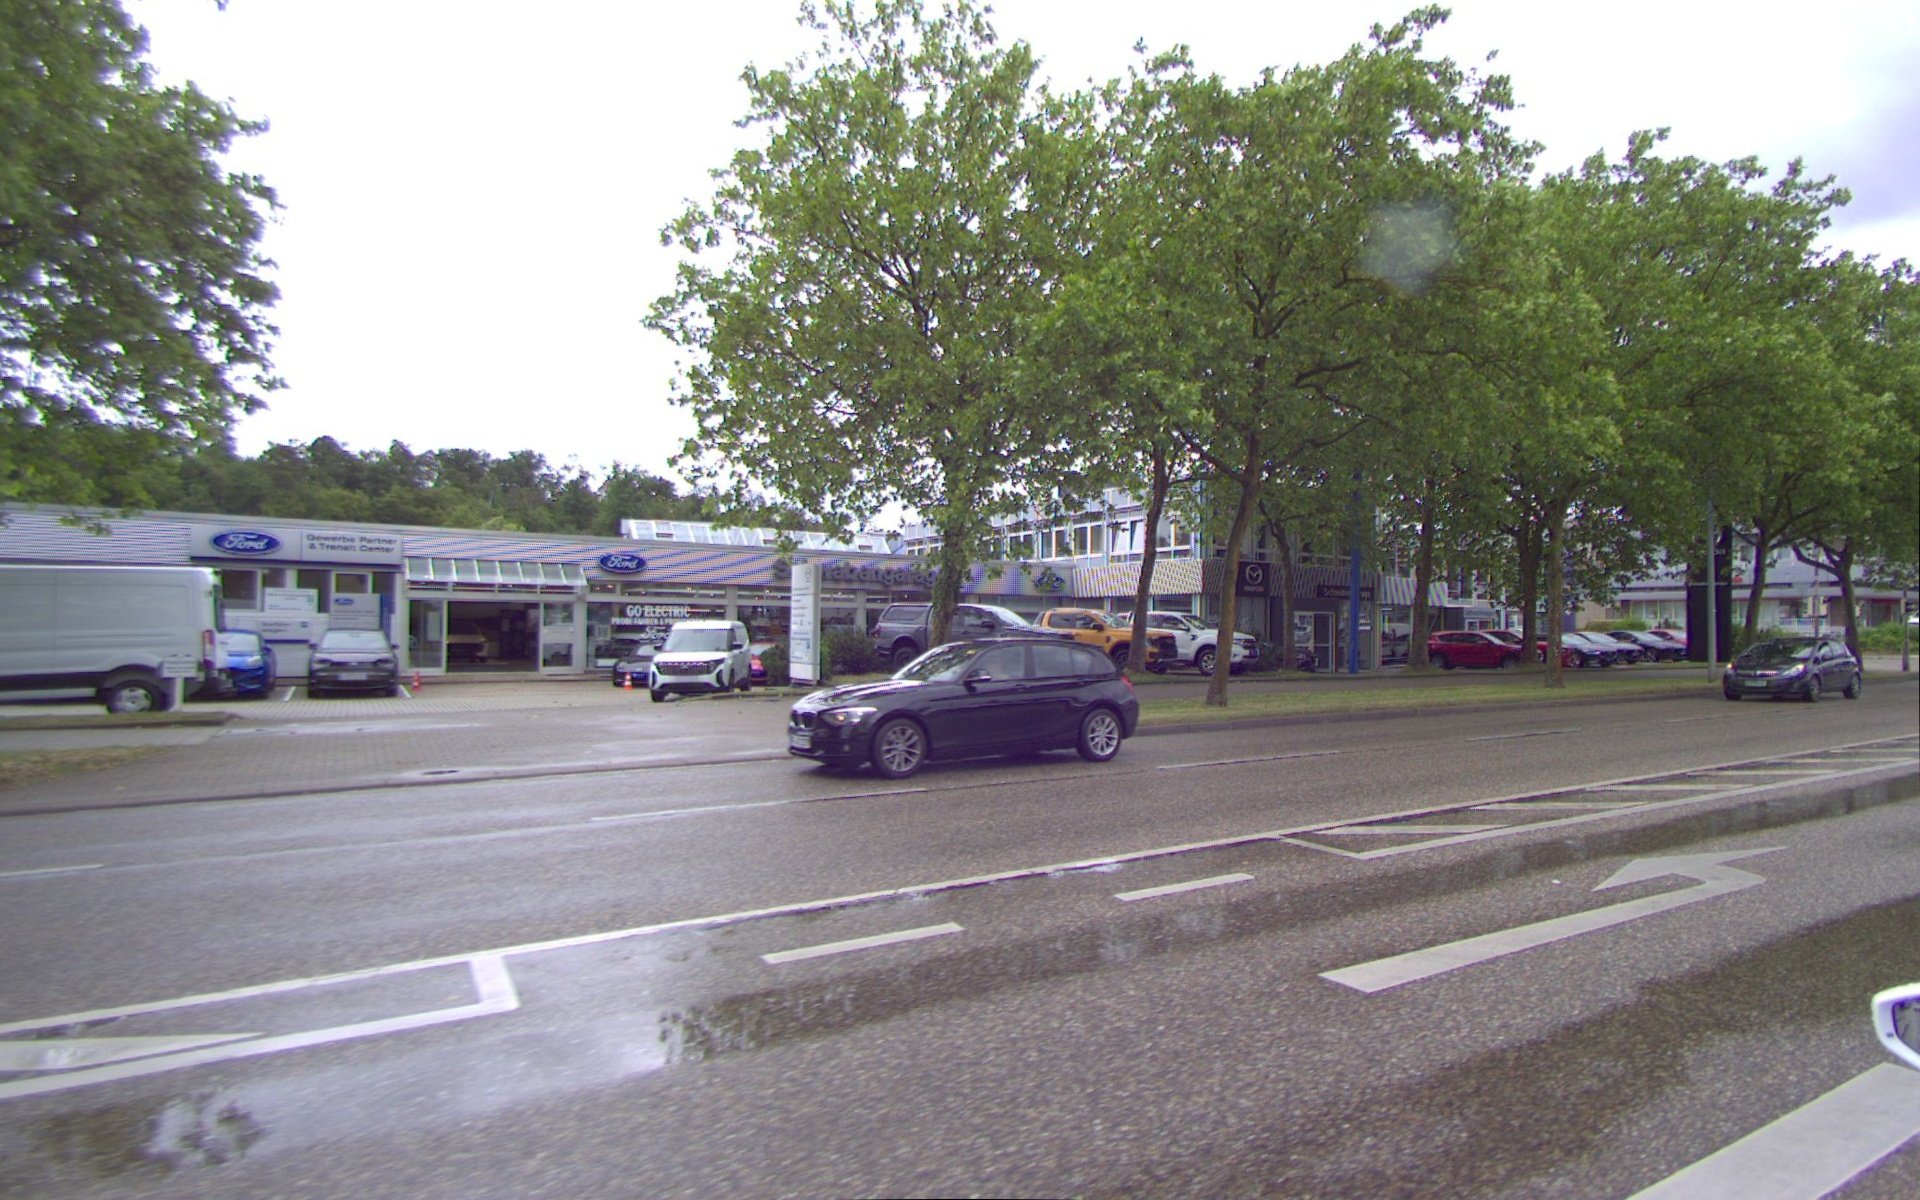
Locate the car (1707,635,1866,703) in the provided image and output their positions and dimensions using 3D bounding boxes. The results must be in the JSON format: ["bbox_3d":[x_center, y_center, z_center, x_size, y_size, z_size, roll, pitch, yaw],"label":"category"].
[{"bbox_3d":[19.556,1.573,23.739,4.040,1.484,1.701,1,-3,-32],"label":"car"}]

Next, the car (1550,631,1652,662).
[{"bbox_3d":[29.982,2.147,47.063,1.673,1.409,3.717,1,-2,-34],"label":"car"}]

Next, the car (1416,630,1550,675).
[{"bbox_3d":[21.022,2.056,40.467,4.497,1.617,1.992,0,-1,38],"label":"car"}]

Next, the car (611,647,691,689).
[{"bbox_3d":[-9.208,2.008,30.215,1.598,1.109,3.996,1,-2,-7],"label":"car"}]

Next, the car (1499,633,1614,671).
[{"bbox_3d":[26.447,2.304,44.584,4.165,1.617,1.993,-3,-3,37],"label":"car"}]

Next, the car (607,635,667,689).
[{"bbox_3d":[-9.615,1.795,29.958,1.574,1.487,3.893,1,-2,-17],"label":"car"}]

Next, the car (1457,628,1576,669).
[{"bbox_3d":[23.583,2.064,42.612,4.165,1.674,2.005,-2,-4,37],"label":"car"}]

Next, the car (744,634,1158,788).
[{"bbox_3d":[-0.010,1.126,11.438,4.486,1.448,1.728,1,-3,-32],"label":"car"}]

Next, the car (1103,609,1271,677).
[{"bbox_3d":[6.620,1.215,29.476,4.398,1.840,1.992,-1,-2,38],"label":"car"}]

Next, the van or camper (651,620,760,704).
[{"bbox_3d":[-5.940,1.400,23.960,1.804,1.808,4.644,0,-2,-5],"label":"van or camper"}]

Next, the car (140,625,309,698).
[{"bbox_3d":[-17.113,1.375,23.617,1.834,1.540,3.988,1,-2,-15],"label":"car"}]

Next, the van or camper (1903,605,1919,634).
[{"bbox_3d":[68.058,1.438,70.156,4.733,1.993,1.983,2,0,-31],"label":"van or camper"}]

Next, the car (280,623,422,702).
[{"bbox_3d":[-14.956,1.469,24.909,1.833,1.790,3.990,1,-2,-14],"label":"car"}]

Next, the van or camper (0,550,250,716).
[{"bbox_3d":[-15.206,0.495,15.909,6.332,2.503,1.982,1,0,-33],"label":"van or camper"}]

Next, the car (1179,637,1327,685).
[{"bbox_3d":[9.748,1.985,33.493,4.390,1.469,1.995,-1,-2,32],"label":"car"}]

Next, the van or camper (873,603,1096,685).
[{"bbox_3d":[0.552,1.046,25.083,5.212,1.845,2.259,-1,-2,35],"label":"van or camper"}]

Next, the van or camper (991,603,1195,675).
[{"bbox_3d":[3.648,1.102,28.110,5.291,1.792,2.097,-1,-5,38],"label":"van or camper"}]

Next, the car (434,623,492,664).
[{"bbox_3d":[-18.803,1.612,37.919,1.842,1.458,3.971,1,-2,-28],"label":"car"}]

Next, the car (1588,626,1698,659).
[{"bbox_3d":[32.715,2.026,48.204,1.860,1.508,3.955,1,-2,-34],"label":"car"}]
